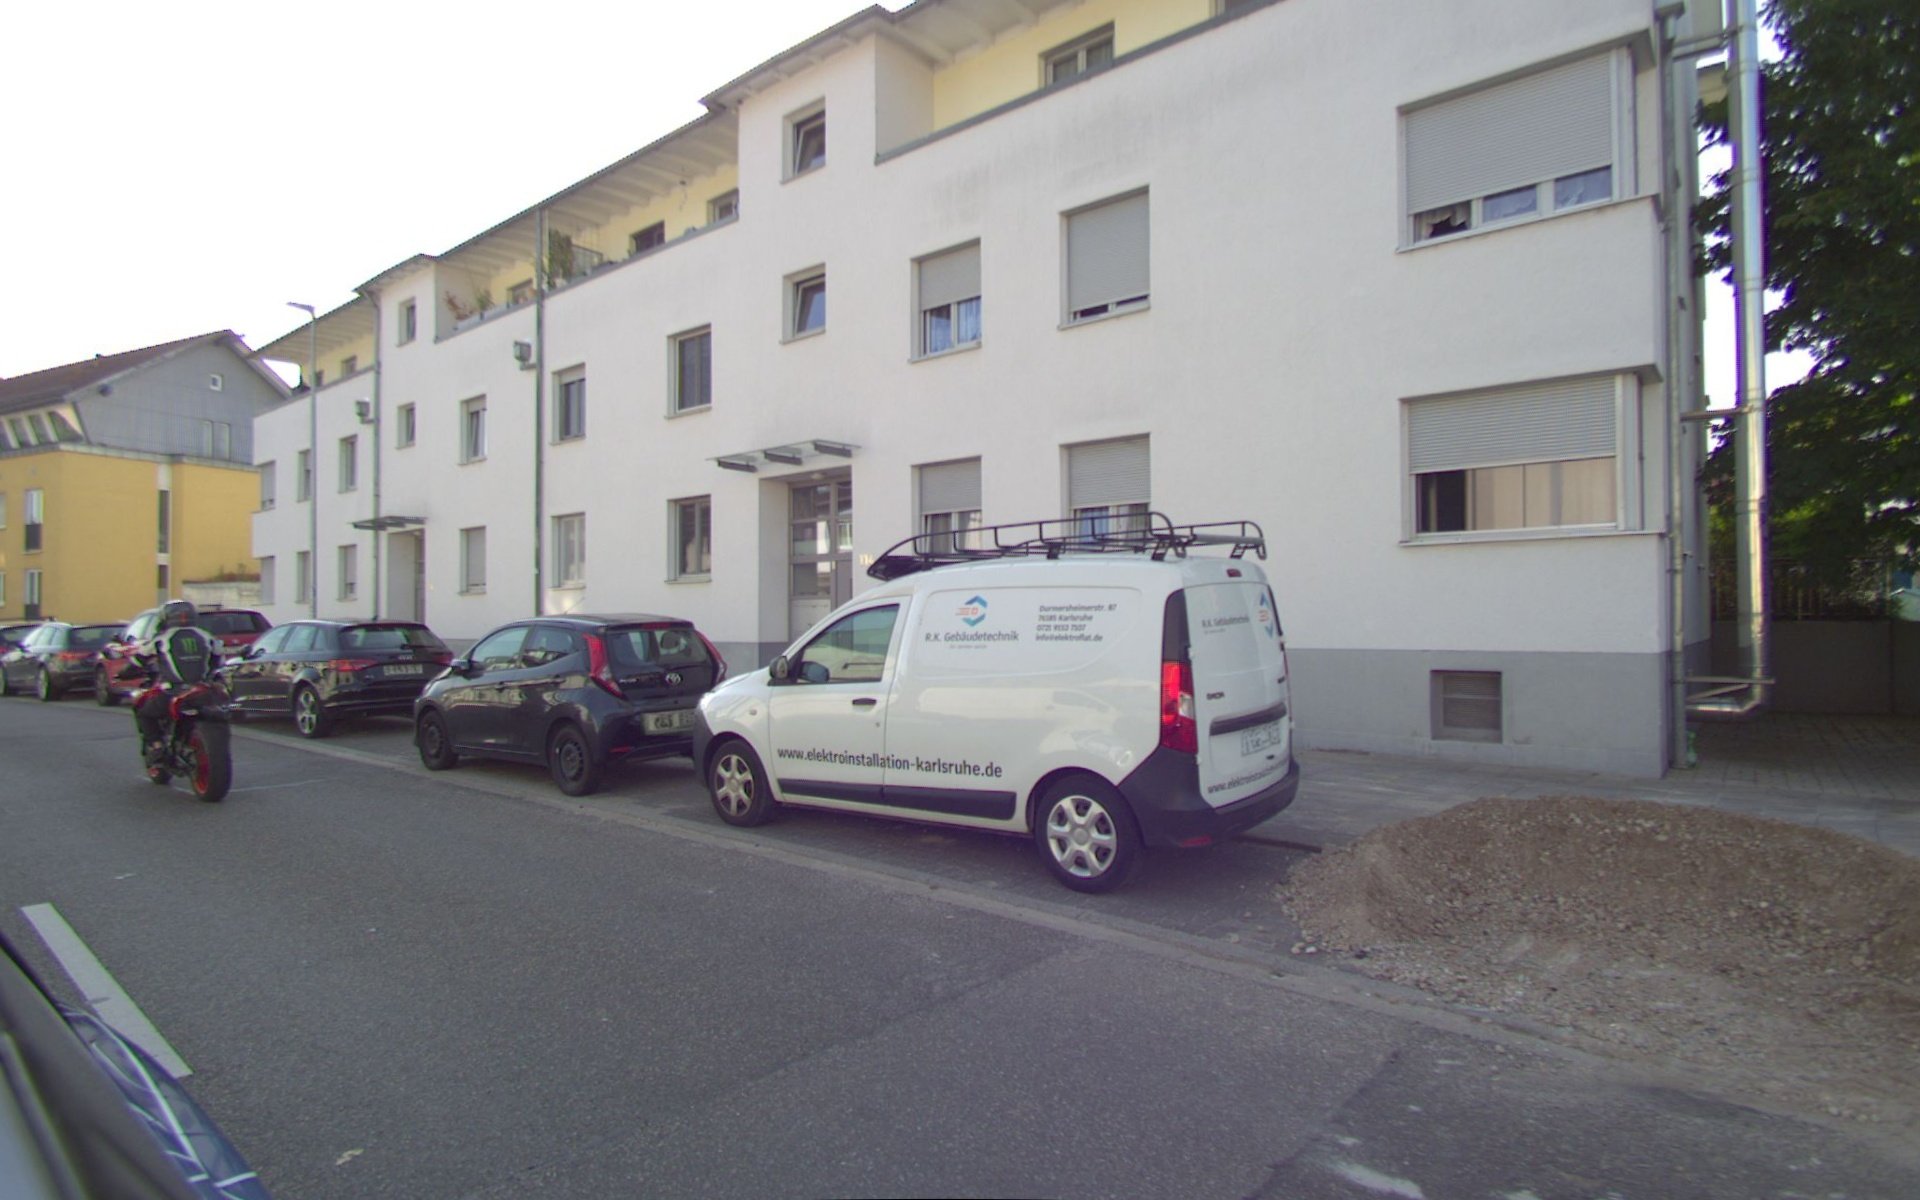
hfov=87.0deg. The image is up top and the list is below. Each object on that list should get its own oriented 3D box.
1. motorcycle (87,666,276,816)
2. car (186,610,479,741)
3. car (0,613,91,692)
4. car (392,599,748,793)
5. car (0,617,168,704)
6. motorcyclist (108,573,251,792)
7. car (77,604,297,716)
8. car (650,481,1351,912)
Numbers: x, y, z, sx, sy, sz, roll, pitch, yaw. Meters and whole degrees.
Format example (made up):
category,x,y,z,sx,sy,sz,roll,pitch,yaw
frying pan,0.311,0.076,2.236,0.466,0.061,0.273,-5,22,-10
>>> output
category,x,y,z,sx,sy,sz,roll,pitch,yaw
motorcycle,-6.417,1.078,8.293,2.197,0.992,0.760,-1,-1,40
car,-8.402,0.912,13.445,4.251,1.489,1.713,-1,-1,34
car,-21.708,1.171,23.101,4.166,1.634,1.761,-2,1,34
car,-3.715,0.771,9.416,3.508,1.476,1.479,-1,0,38
car,-17.370,1.120,19.734,4.490,1.489,1.713,-1,0,34
motorcyclist,-6.384,0.635,8.281,0.843,1.664,0.761,-1,-1,40
car,-12.984,0.928,16.929,4.253,1.634,1.712,-1,0,35
car,0.032,0.492,6.679,4.431,1.975,1.711,-2,-1,37
